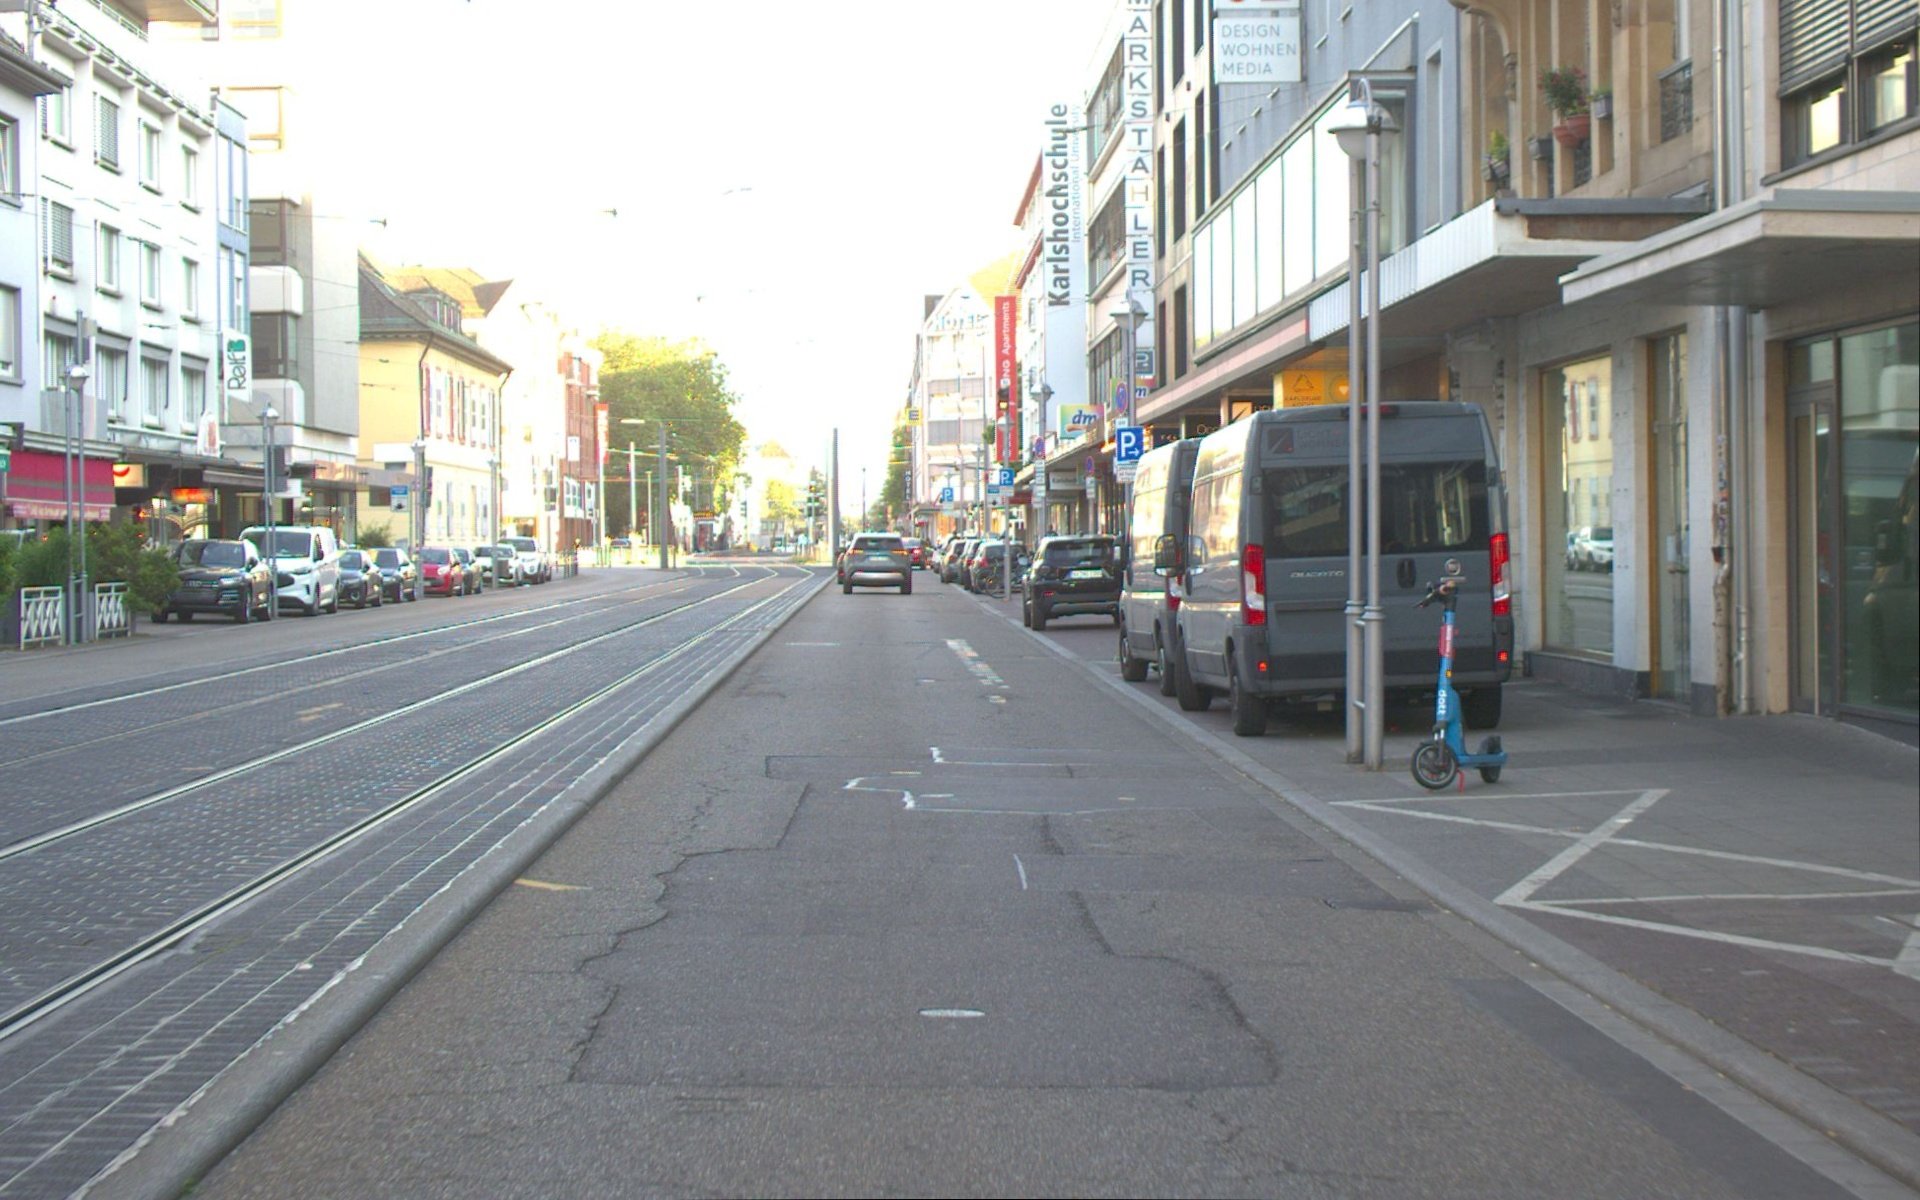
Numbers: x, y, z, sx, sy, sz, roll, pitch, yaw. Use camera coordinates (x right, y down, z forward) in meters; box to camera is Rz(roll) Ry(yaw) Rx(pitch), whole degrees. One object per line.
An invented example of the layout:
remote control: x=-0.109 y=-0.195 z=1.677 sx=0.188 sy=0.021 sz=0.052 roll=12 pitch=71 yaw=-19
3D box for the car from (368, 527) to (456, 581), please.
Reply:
car: x=-14.414 y=-1.233 z=90.585 sx=1.790 sy=1.334 sz=3.892 roll=2 pitch=1 yaw=-2

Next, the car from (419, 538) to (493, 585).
car: x=-15.438 y=-1.197 z=105.519 sx=1.790 sy=1.334 sz=3.892 roll=2 pitch=1 yaw=-2

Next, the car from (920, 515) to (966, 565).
car: x=-0.784 y=-2.718 z=155.590 sx=1.944 sy=2.138 sz=4.545 roll=-2 pitch=1 yaw=0

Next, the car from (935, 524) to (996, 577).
car: x=0.174 y=-1.714 z=117.113 sx=1.944 sy=1.697 sz=4.545 roll=-2 pitch=1 yaw=0

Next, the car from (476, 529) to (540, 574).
car: x=-15.623 y=-1.685 z=118.898 sx=1.790 sy=1.444 sz=3.892 roll=2 pitch=1 yaw=-2

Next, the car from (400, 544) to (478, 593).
car: x=-15.176 y=-0.926 z=100.297 sx=1.790 sy=1.334 sz=3.892 roll=2 pitch=1 yaw=-2

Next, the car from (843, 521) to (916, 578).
car: x=-2.187 y=-1.411 z=94.822 sx=1.943 sy=1.539 sz=4.545 roll=0 pitch=1 yaw=-1

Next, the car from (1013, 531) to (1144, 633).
car: x=1.941 y=-0.335 z=57.546 sx=1.944 sy=1.539 sz=4.545 roll=-2 pitch=1 yaw=0

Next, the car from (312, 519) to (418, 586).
car: x=-14.555 y=-1.177 z=84.286 sx=1.917 sy=1.516 sz=4.630 roll=2 pitch=1 yaw=-2

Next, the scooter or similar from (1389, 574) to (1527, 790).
scooter or similar: x=2.991 y=0.479 z=20.579 sx=0.355 sy=1.219 sz=1.113 roll=-2 pitch=1 yaw=32

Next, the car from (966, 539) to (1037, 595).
car: x=1.199 y=-0.998 z=102.028 sx=1.944 sy=1.539 sz=4.545 roll=-2 pitch=1 yaw=0

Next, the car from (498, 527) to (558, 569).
car: x=-15.679 y=-1.881 z=124.919 sx=1.790 sy=1.444 sz=3.892 roll=2 pitch=1 yaw=-2

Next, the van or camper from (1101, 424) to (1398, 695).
van or camper: x=2.814 y=-0.428 z=34.740 sx=2.188 sy=2.418 sz=5.518 roll=-3 pitch=1 yaw=-3

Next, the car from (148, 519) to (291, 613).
car: x=-14.744 y=-0.699 z=68.668 sx=1.917 sy=1.757 sz=4.430 roll=2 pitch=1 yaw=-1

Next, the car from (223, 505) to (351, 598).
car: x=-14.905 y=-1.087 z=76.336 sx=1.917 sy=1.929 sz=4.842 roll=2 pitch=1 yaw=-1

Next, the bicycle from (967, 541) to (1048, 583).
bicycle: x=1.267 y=-1.027 z=91.915 sx=2.118 sy=1.086 sz=0.592 roll=-1 pitch=1 yaw=-3

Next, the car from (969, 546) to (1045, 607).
car: x=1.293 y=-0.669 z=95.519 sx=1.944 sy=1.539 sz=4.545 roll=-2 pitch=1 yaw=0

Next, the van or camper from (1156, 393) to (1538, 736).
van or camper: x=3.024 y=-0.322 z=28.338 sx=2.188 sy=2.418 sz=6.133 roll=-3 pitch=1 yaw=-2
